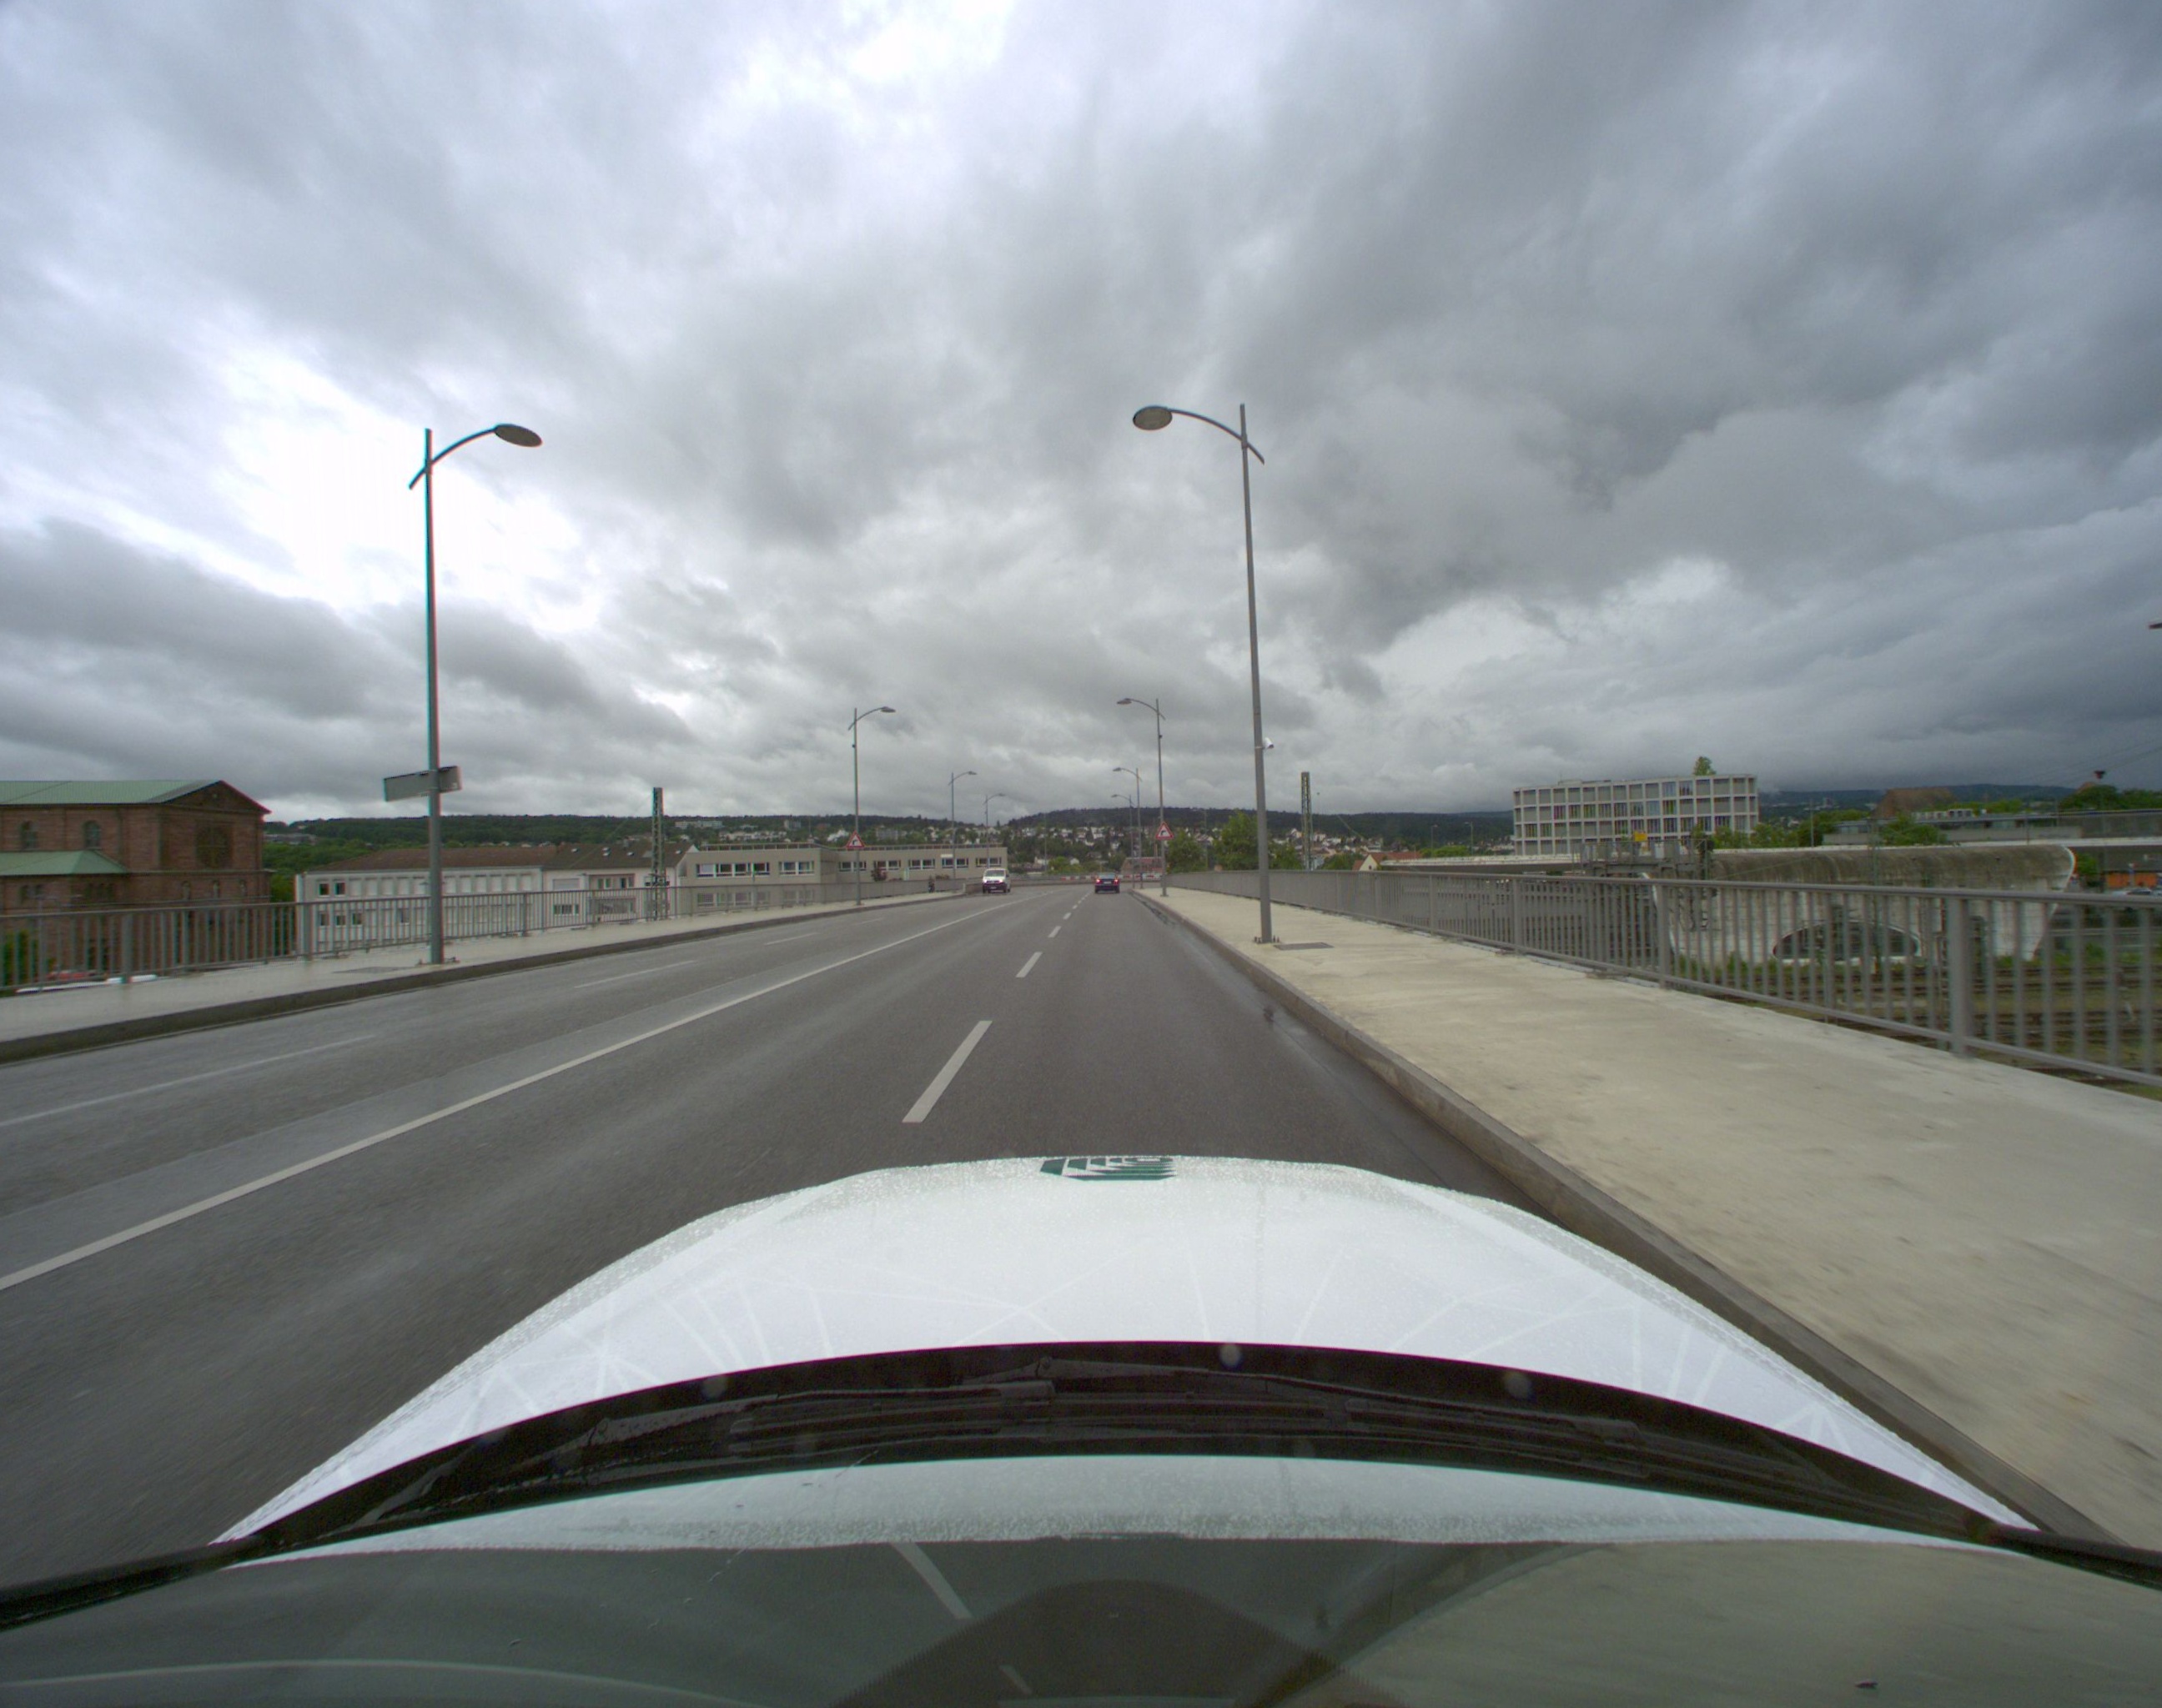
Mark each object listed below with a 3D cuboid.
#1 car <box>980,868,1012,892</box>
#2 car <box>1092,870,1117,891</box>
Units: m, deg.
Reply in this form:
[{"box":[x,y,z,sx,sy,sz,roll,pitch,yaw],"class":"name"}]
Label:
[{"box":[-6.760,2.113,65.241,1.879,1.822,4.960,0,-2,2],"class":"car"},{"box":[1.617,1.807,56.254,1.699,1.420,3.726,0,-2,1],"class":"car"}]
